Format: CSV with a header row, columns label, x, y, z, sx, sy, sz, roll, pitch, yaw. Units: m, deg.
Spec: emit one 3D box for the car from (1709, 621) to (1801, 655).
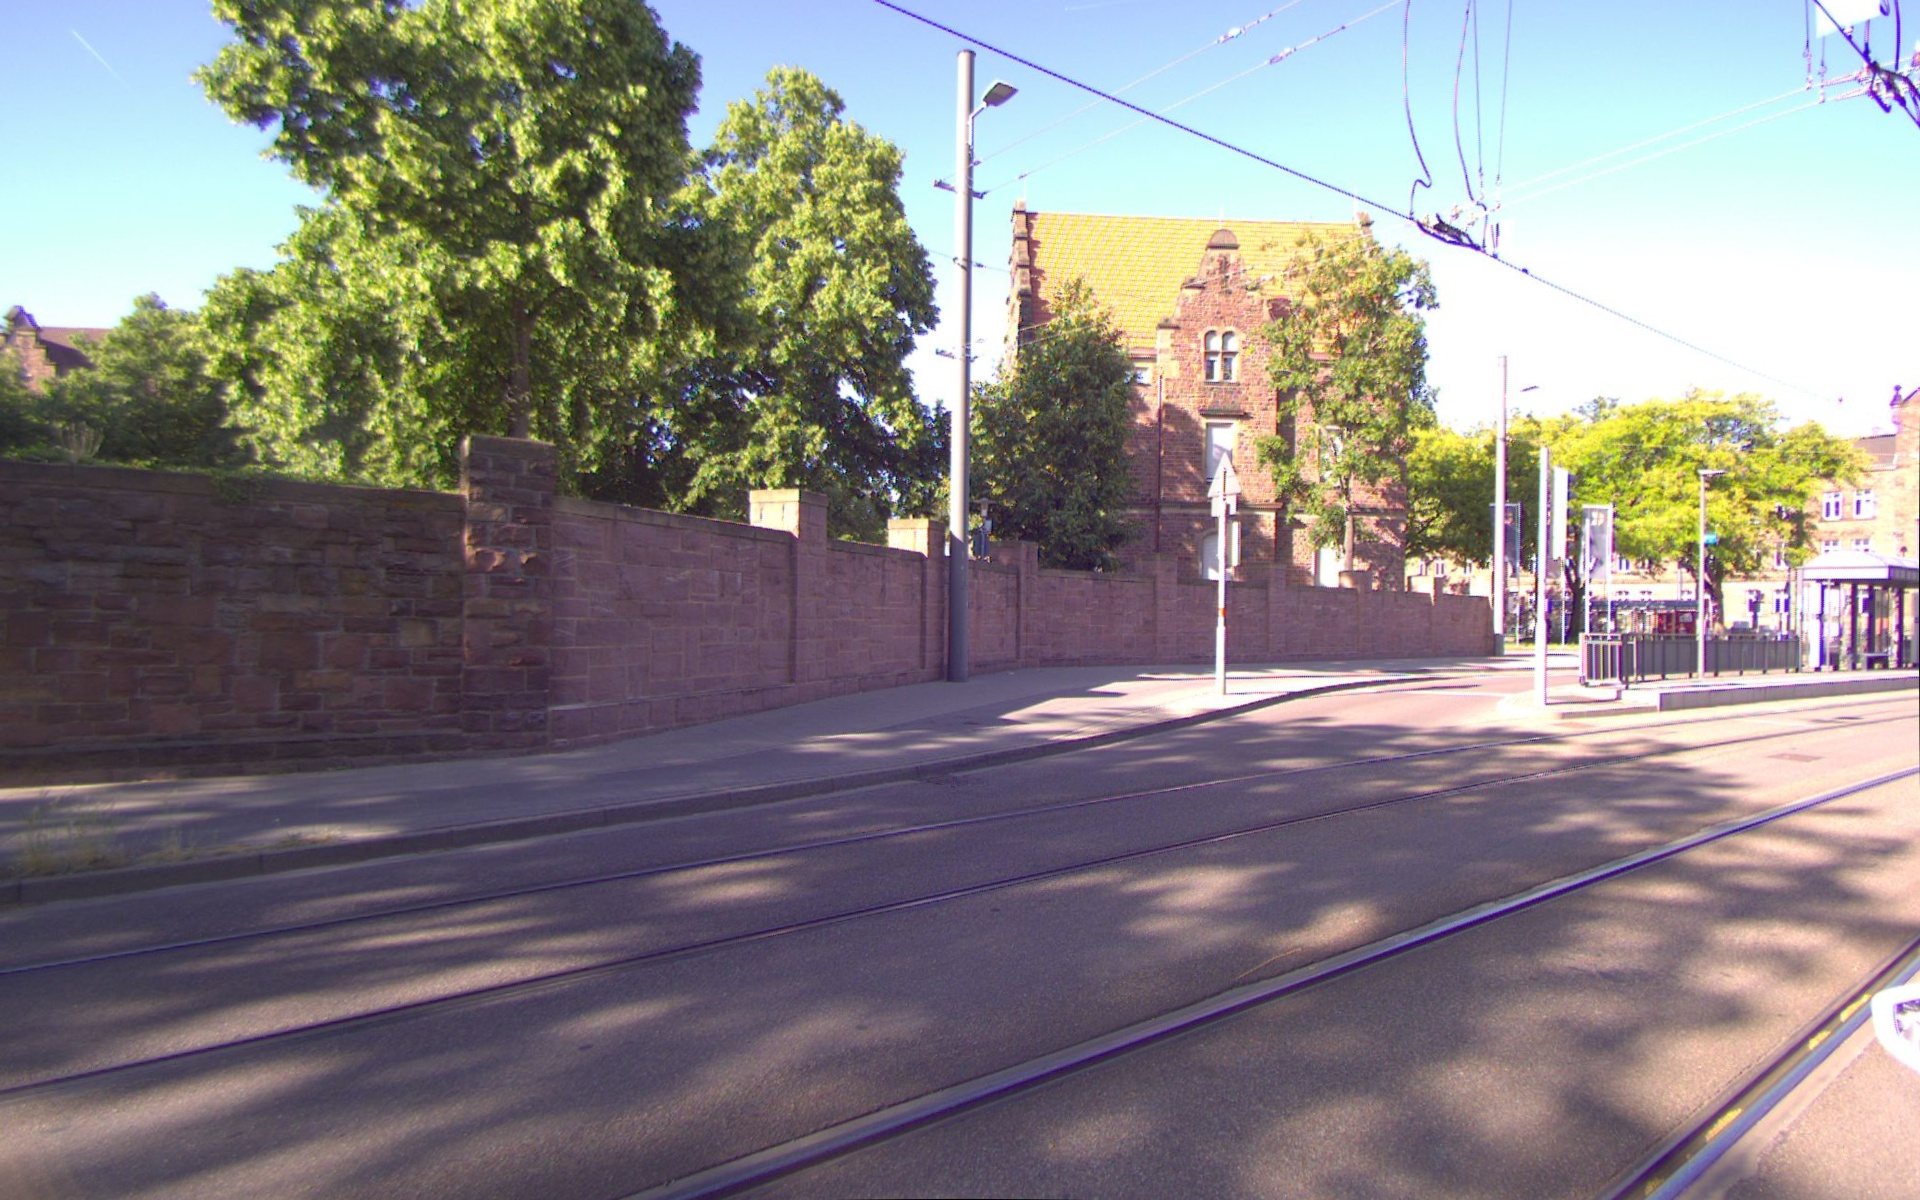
label,x,y,z,sx,sy,sz,roll,pitch,yaw
car,47.551,2.268,60.132,1.981,1.813,3.959,2,-1,-36
